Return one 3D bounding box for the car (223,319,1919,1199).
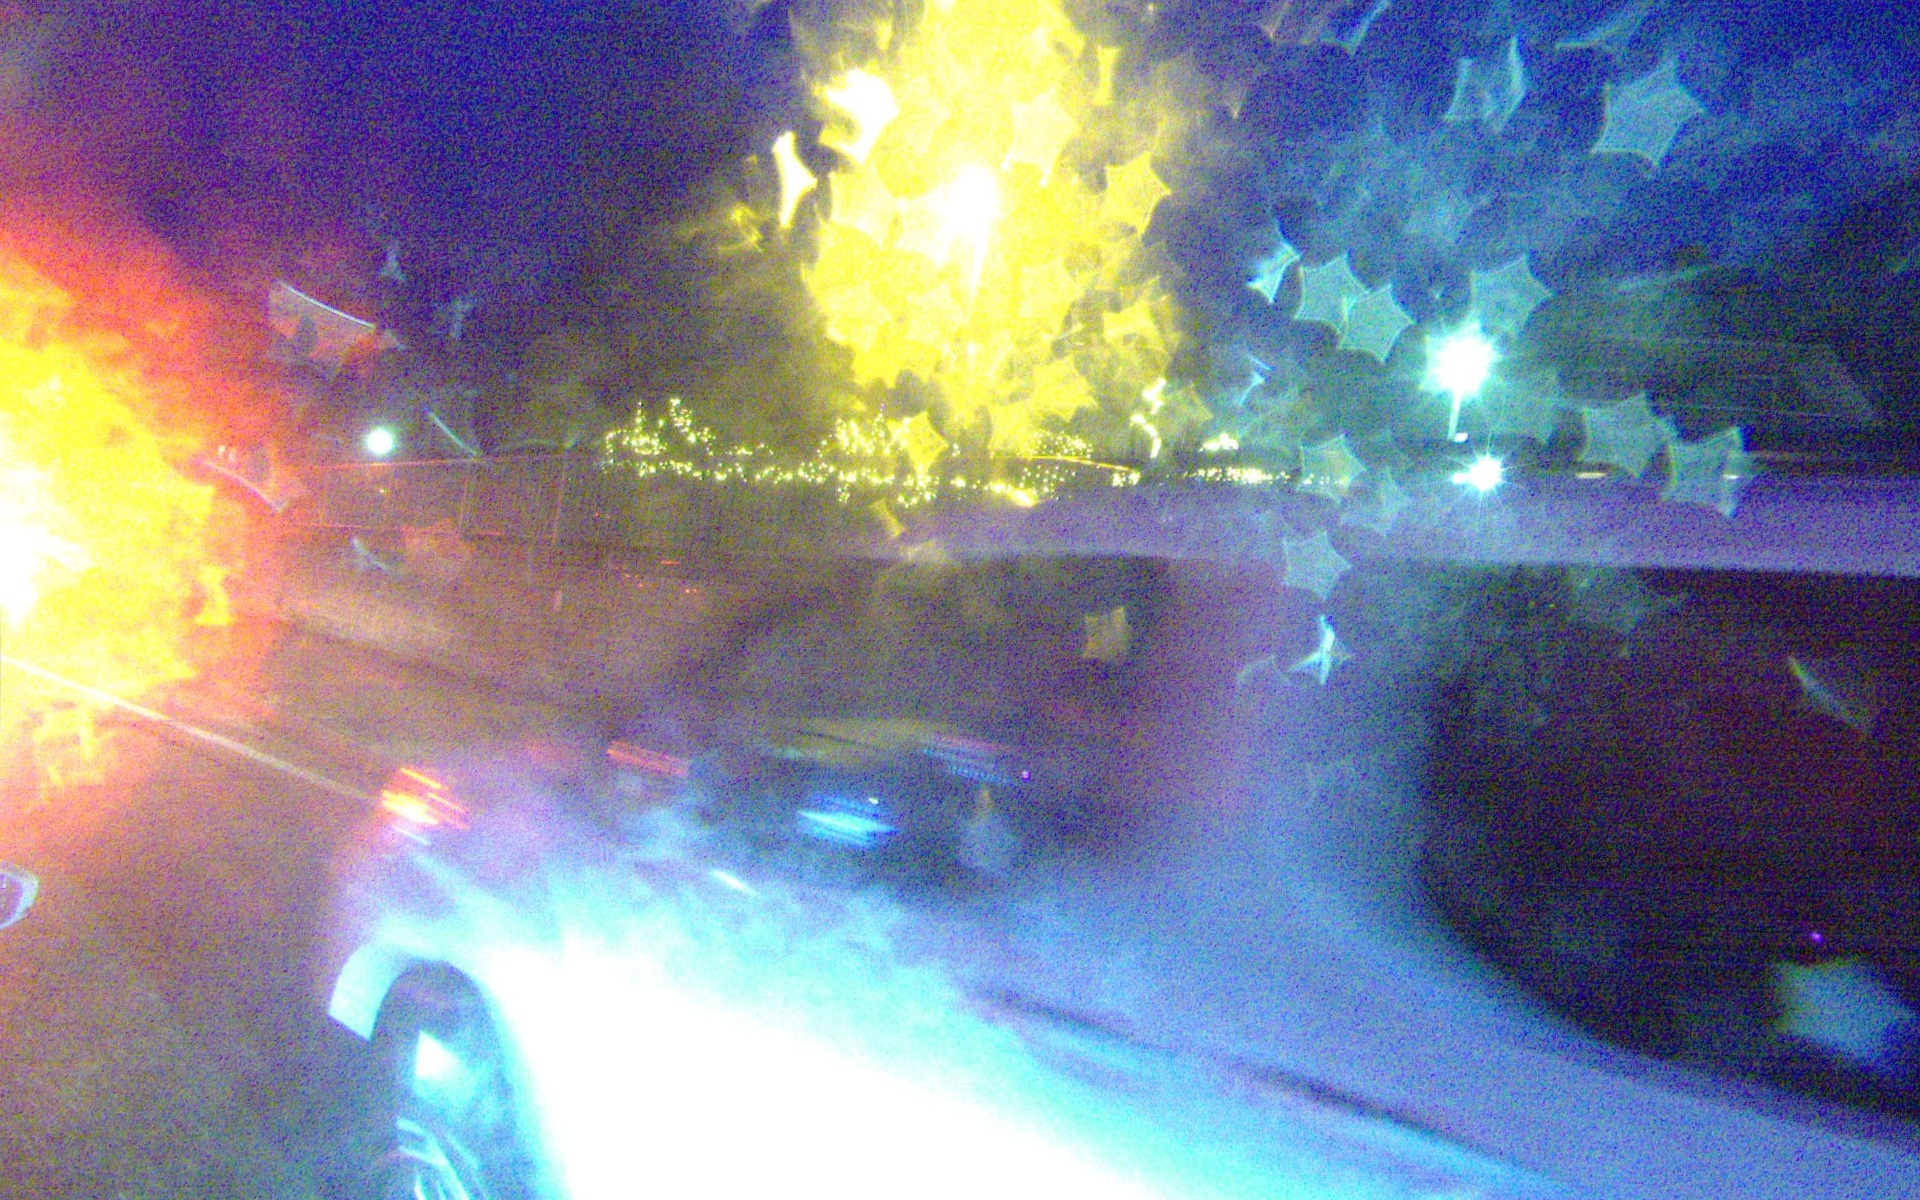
[{"bbox_3d":[0.747,0.701,1.904,4.633,1.839,1.758,7,-1,33],"label":"car"}]

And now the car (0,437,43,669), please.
[{"bbox_3d":[-10.451,-0.688,9.190,4.149,1.995,1.945,7,-1,33],"label":"car"}]
